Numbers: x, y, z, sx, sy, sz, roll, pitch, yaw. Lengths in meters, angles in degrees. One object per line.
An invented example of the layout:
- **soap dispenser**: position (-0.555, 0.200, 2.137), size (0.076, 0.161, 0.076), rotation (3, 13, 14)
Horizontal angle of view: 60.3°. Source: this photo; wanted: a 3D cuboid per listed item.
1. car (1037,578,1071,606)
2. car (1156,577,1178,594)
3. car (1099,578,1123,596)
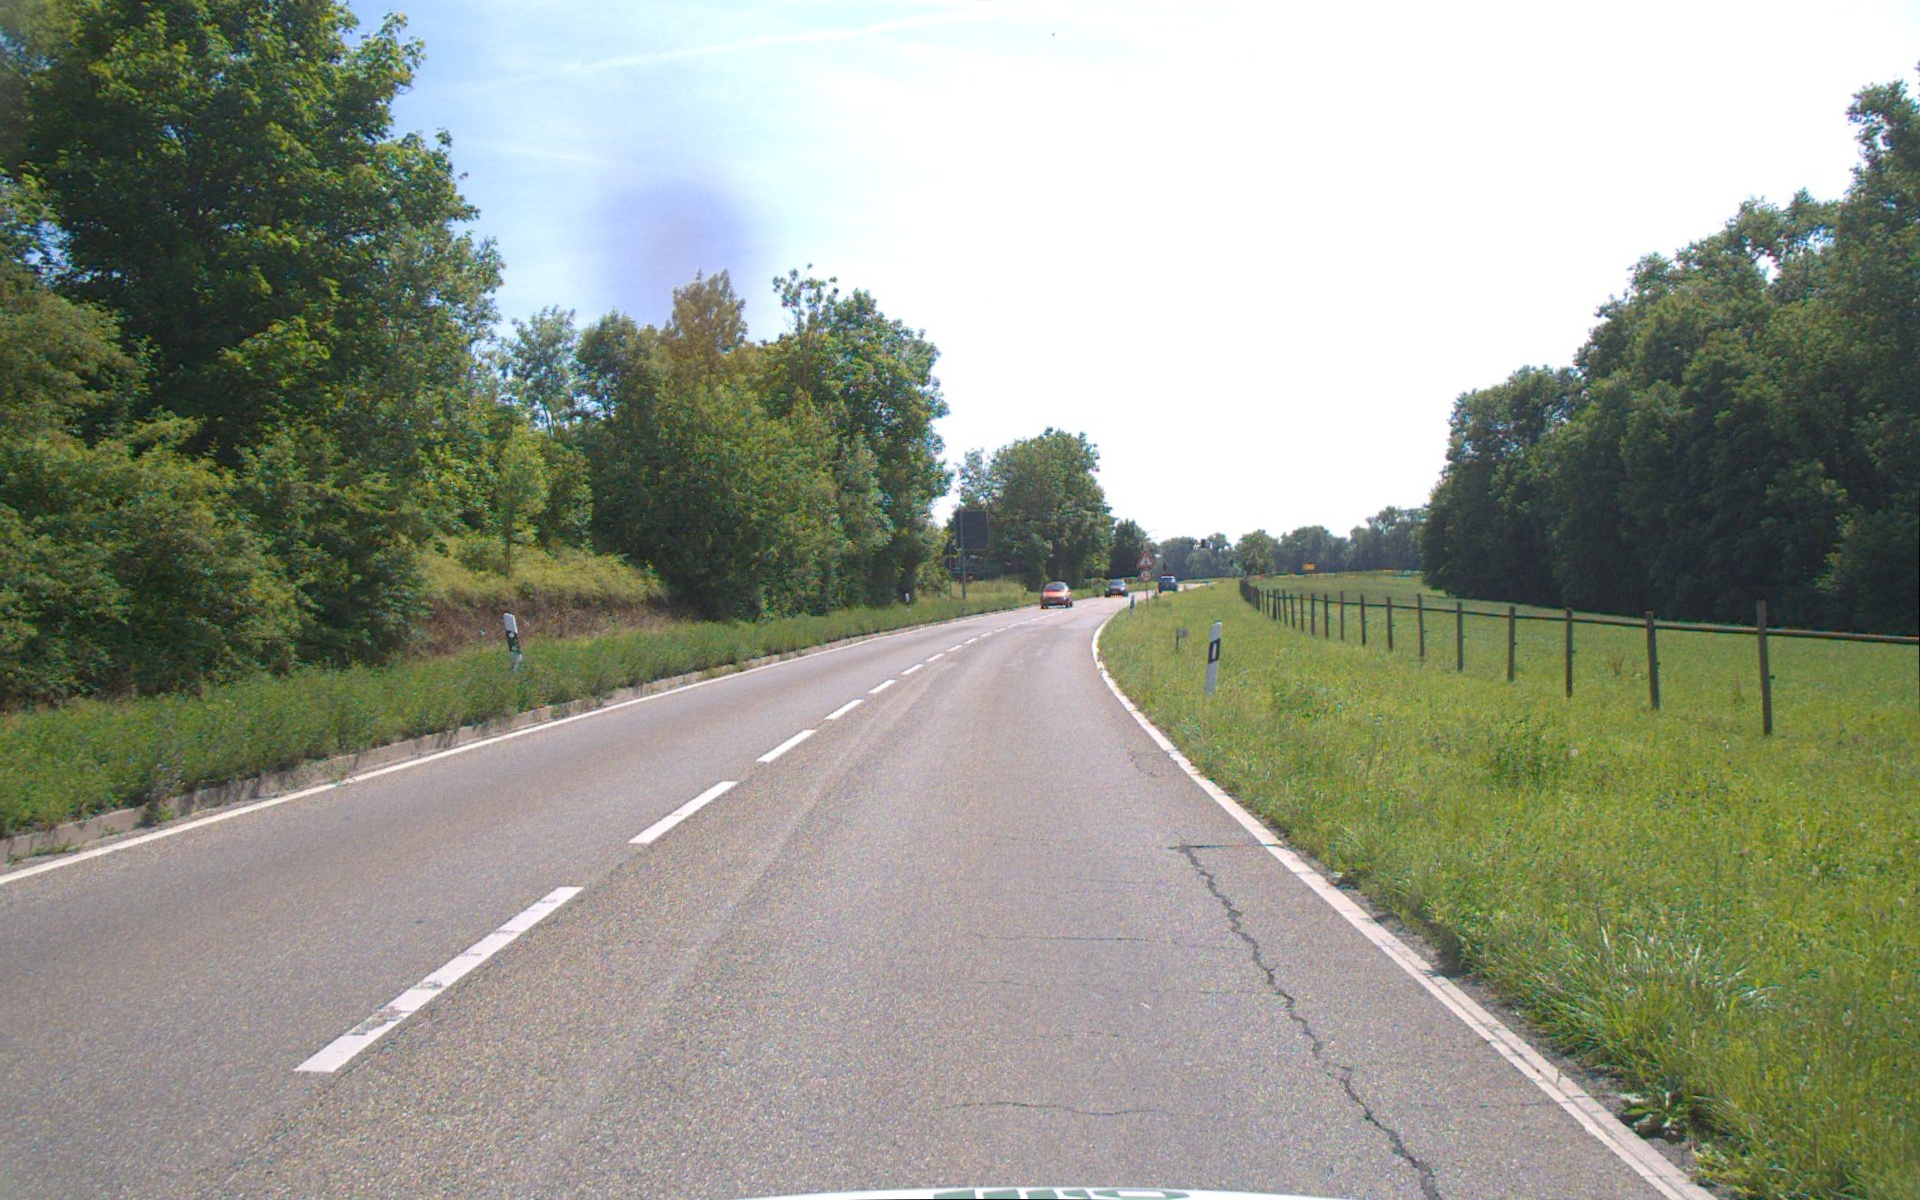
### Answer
- **car**: position (5.238, -0.455, 92.014), size (1.782, 1.494, 4.003), rotation (1, 1, 5)
- **car**: position (19.961, -1.411, 159.733), size (1.951, 1.601, 4.003), rotation (1, 0, 9)
- **car**: position (12.801, -1.099, 140.189), size (1.782, 1.494, 4.003), rotation (1, 1, 8)
